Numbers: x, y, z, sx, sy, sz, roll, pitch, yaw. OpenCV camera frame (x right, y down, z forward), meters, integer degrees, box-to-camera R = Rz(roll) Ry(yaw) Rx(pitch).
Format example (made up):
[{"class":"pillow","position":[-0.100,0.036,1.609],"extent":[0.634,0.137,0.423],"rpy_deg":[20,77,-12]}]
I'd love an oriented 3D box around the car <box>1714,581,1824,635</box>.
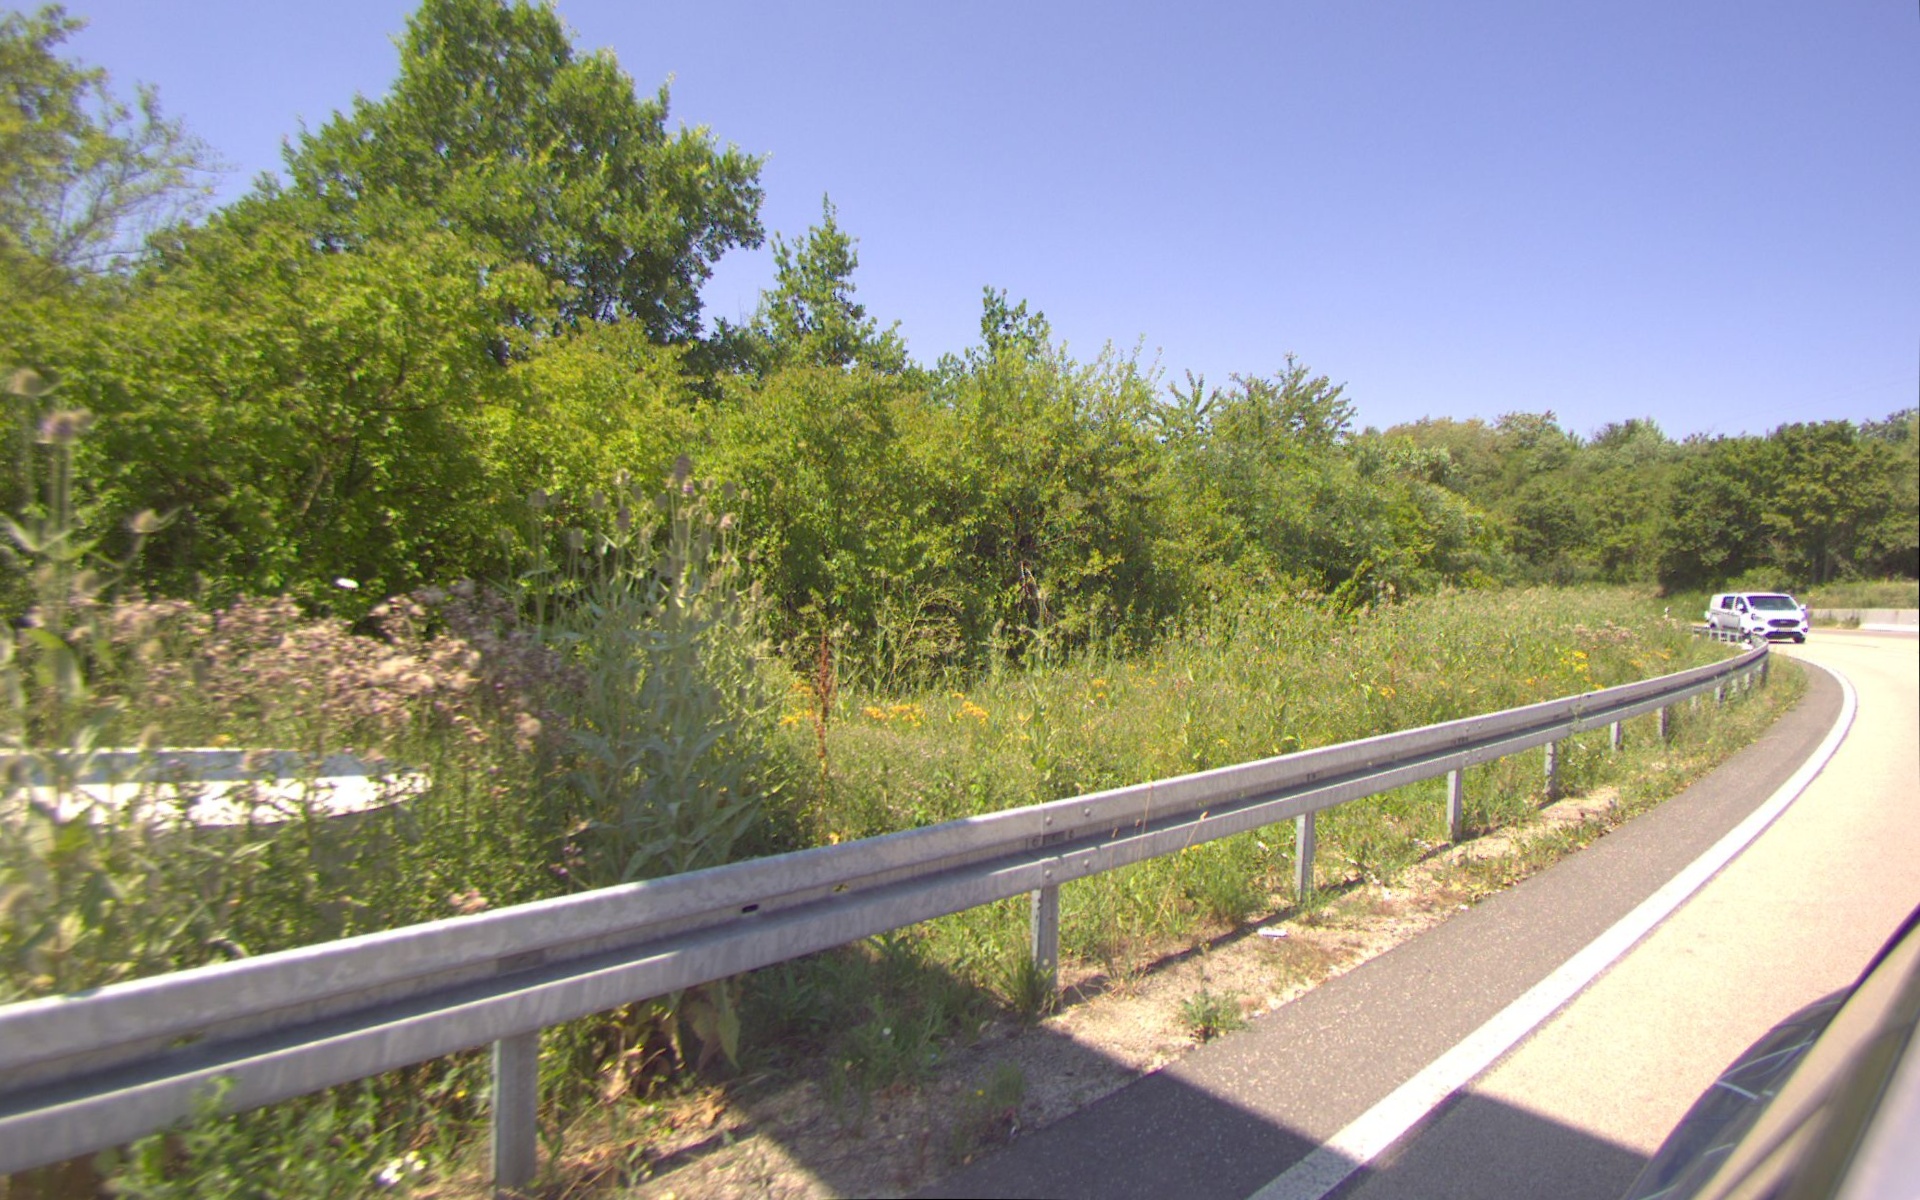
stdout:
[{"class":"car","position":[32.878,0.319,41.320],"extent":[2.039,2.039,5.005],"rpy_deg":[-1,0,21]}]
